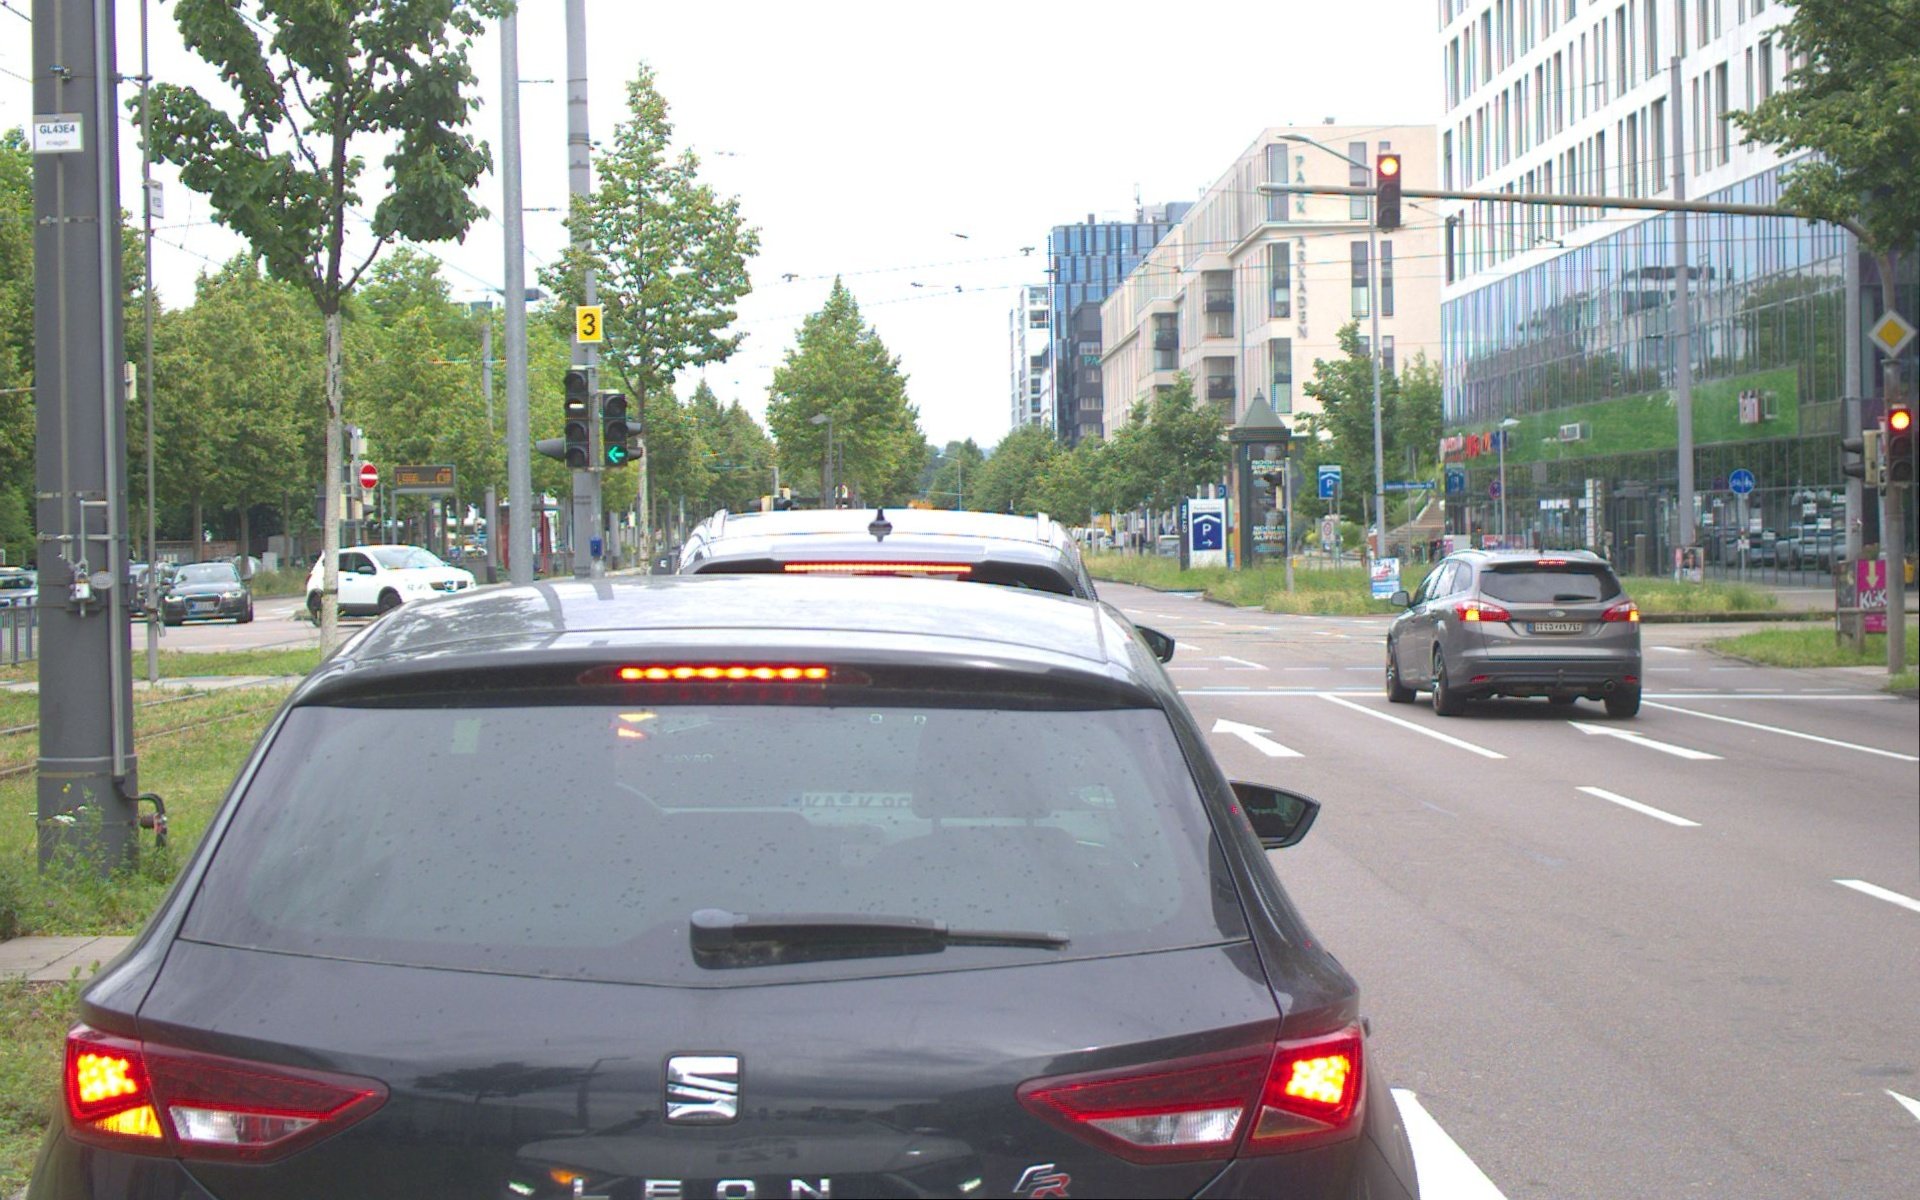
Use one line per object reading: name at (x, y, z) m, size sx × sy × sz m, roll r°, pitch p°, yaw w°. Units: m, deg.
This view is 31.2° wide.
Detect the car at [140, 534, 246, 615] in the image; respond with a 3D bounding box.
car at (-17.478, -0.603, 78.213) m, size 1.993 × 1.744 × 4.001 m, roll -1°, pitch 1°, yaw -17°

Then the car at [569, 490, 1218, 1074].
car at (-0.209, 0.471, 11.688) m, size 1.802 × 1.619 × 4.000 m, roll -1°, pitch 1°, yaw -1°

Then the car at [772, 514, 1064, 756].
car at (-0.235, 0.195, 26.072) m, size 1.994 × 1.676 × 4.000 m, roll 0°, pitch 1°, yaw 2°

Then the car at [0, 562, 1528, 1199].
car at (-0.354, 0.676, 5.463) m, size 1.743 × 1.412 × 4.000 m, roll 0°, pitch 1°, yaw -1°

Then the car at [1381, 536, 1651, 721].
car at (5.011, 0.206, 31.503) m, size 1.748 × 1.494 × 4.269 m, roll 0°, pitch 2°, yaw 0°

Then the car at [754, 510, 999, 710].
car at (-0.687, 0.038, 31.132) m, size 1.993 × 1.676 × 4.000 m, roll 0°, pitch 1°, yaw 2°

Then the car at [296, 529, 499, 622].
car at (-11.079, -0.484, 67.544) m, size 1.994 × 1.744 × 4.199 m, roll -2°, pitch 2°, yaw -41°
